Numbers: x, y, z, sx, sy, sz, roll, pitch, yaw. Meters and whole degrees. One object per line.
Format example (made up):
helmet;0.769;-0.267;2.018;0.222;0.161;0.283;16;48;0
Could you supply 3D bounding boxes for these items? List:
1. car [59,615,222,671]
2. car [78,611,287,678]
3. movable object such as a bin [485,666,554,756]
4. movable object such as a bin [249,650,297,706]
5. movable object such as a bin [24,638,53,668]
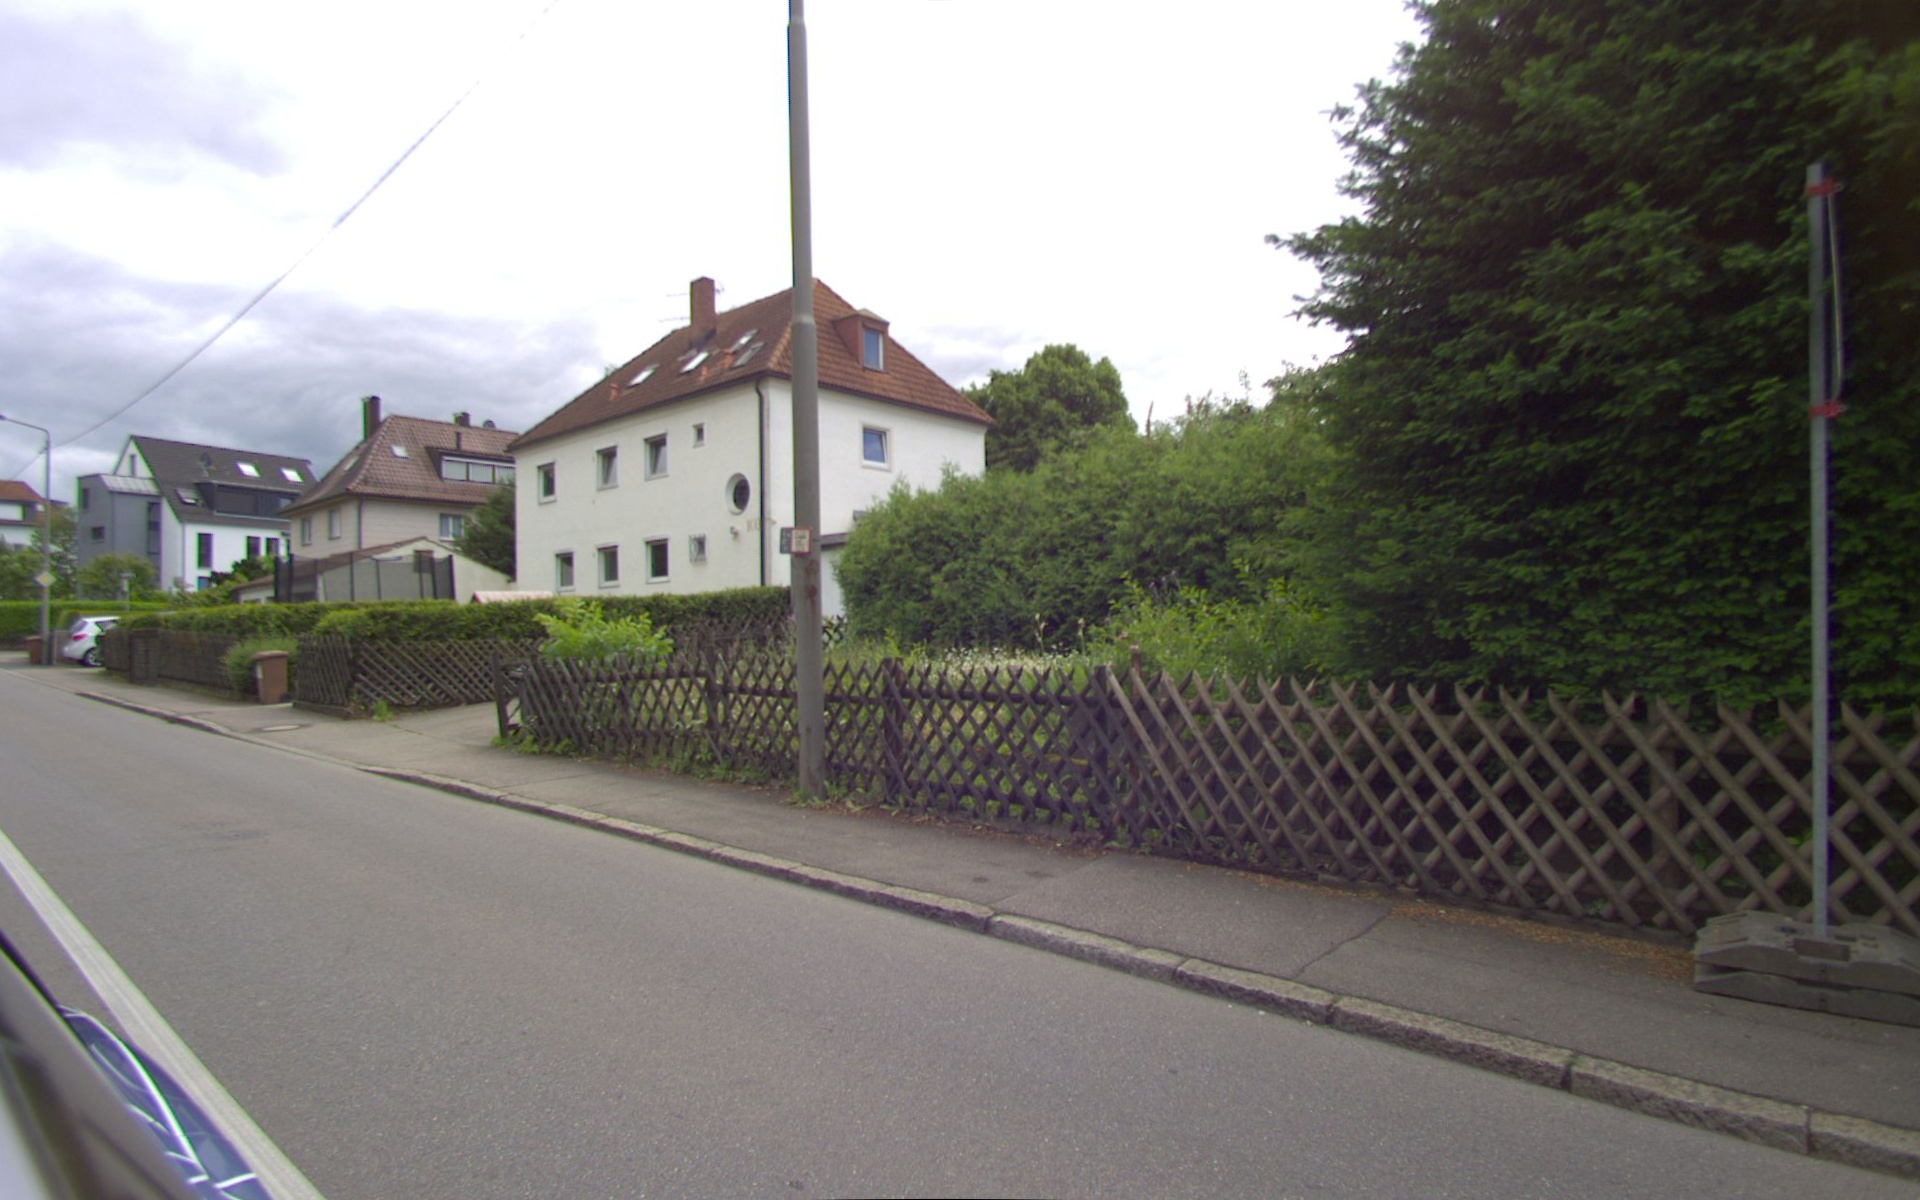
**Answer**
car;-27.279;1.381;33.781;1.717;1.606;3.946;-1;1;41
car;-23.077;1.259;30.195;1.881;1.682;4.624;-1;1;39
movable object such as a bin;-4.954;1.231;11.375;0.537;0.945;0.544;-1;-2;43
movable object such as a bin;-12.013;1.356;17.695;0.625;0.920;0.561;-1;0;-39
movable object such as a bin;-30.879;1.769;33.913;0.572;0.961;0.680;-1;-2;44
